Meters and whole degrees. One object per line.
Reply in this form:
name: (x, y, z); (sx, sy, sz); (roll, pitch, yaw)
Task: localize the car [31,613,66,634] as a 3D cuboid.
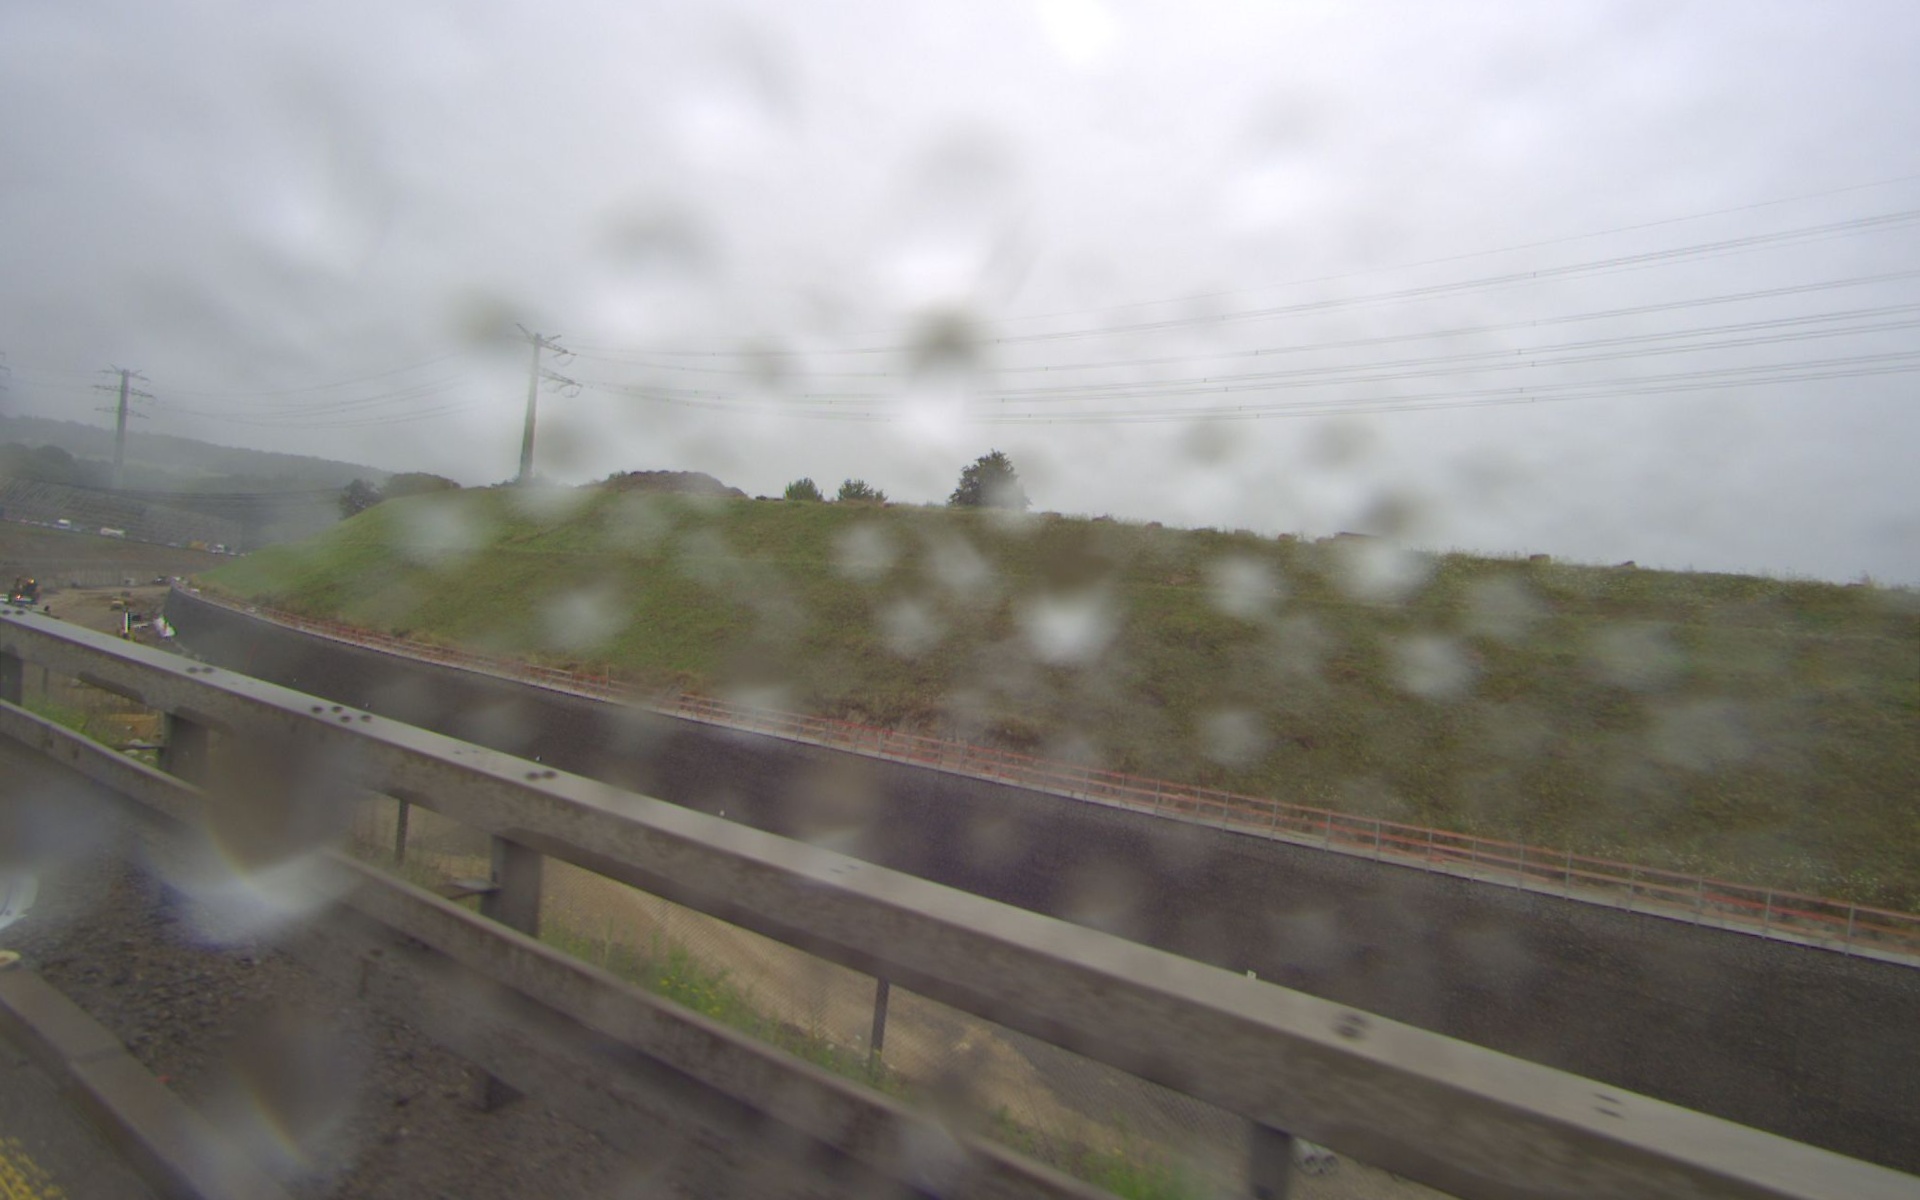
car: (-113.527, 2.932, 125.307); (3.939, 2.036, 2.367); (6, -3, 37)

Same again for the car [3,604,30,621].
car: (-127.434, 1.699, 135.887); (3.942, 1.837, 1.993); (6, -2, 39)

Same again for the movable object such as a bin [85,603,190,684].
movable object such as a bin: (-47.465, 2.524, 58.087); (4.056, 3.909, 3.221); (8, -3, 34)

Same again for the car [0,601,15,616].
car: (-159.957, 1.356, 168.538); (1.987, 2.036, 3.956); (9, -3, -40)
